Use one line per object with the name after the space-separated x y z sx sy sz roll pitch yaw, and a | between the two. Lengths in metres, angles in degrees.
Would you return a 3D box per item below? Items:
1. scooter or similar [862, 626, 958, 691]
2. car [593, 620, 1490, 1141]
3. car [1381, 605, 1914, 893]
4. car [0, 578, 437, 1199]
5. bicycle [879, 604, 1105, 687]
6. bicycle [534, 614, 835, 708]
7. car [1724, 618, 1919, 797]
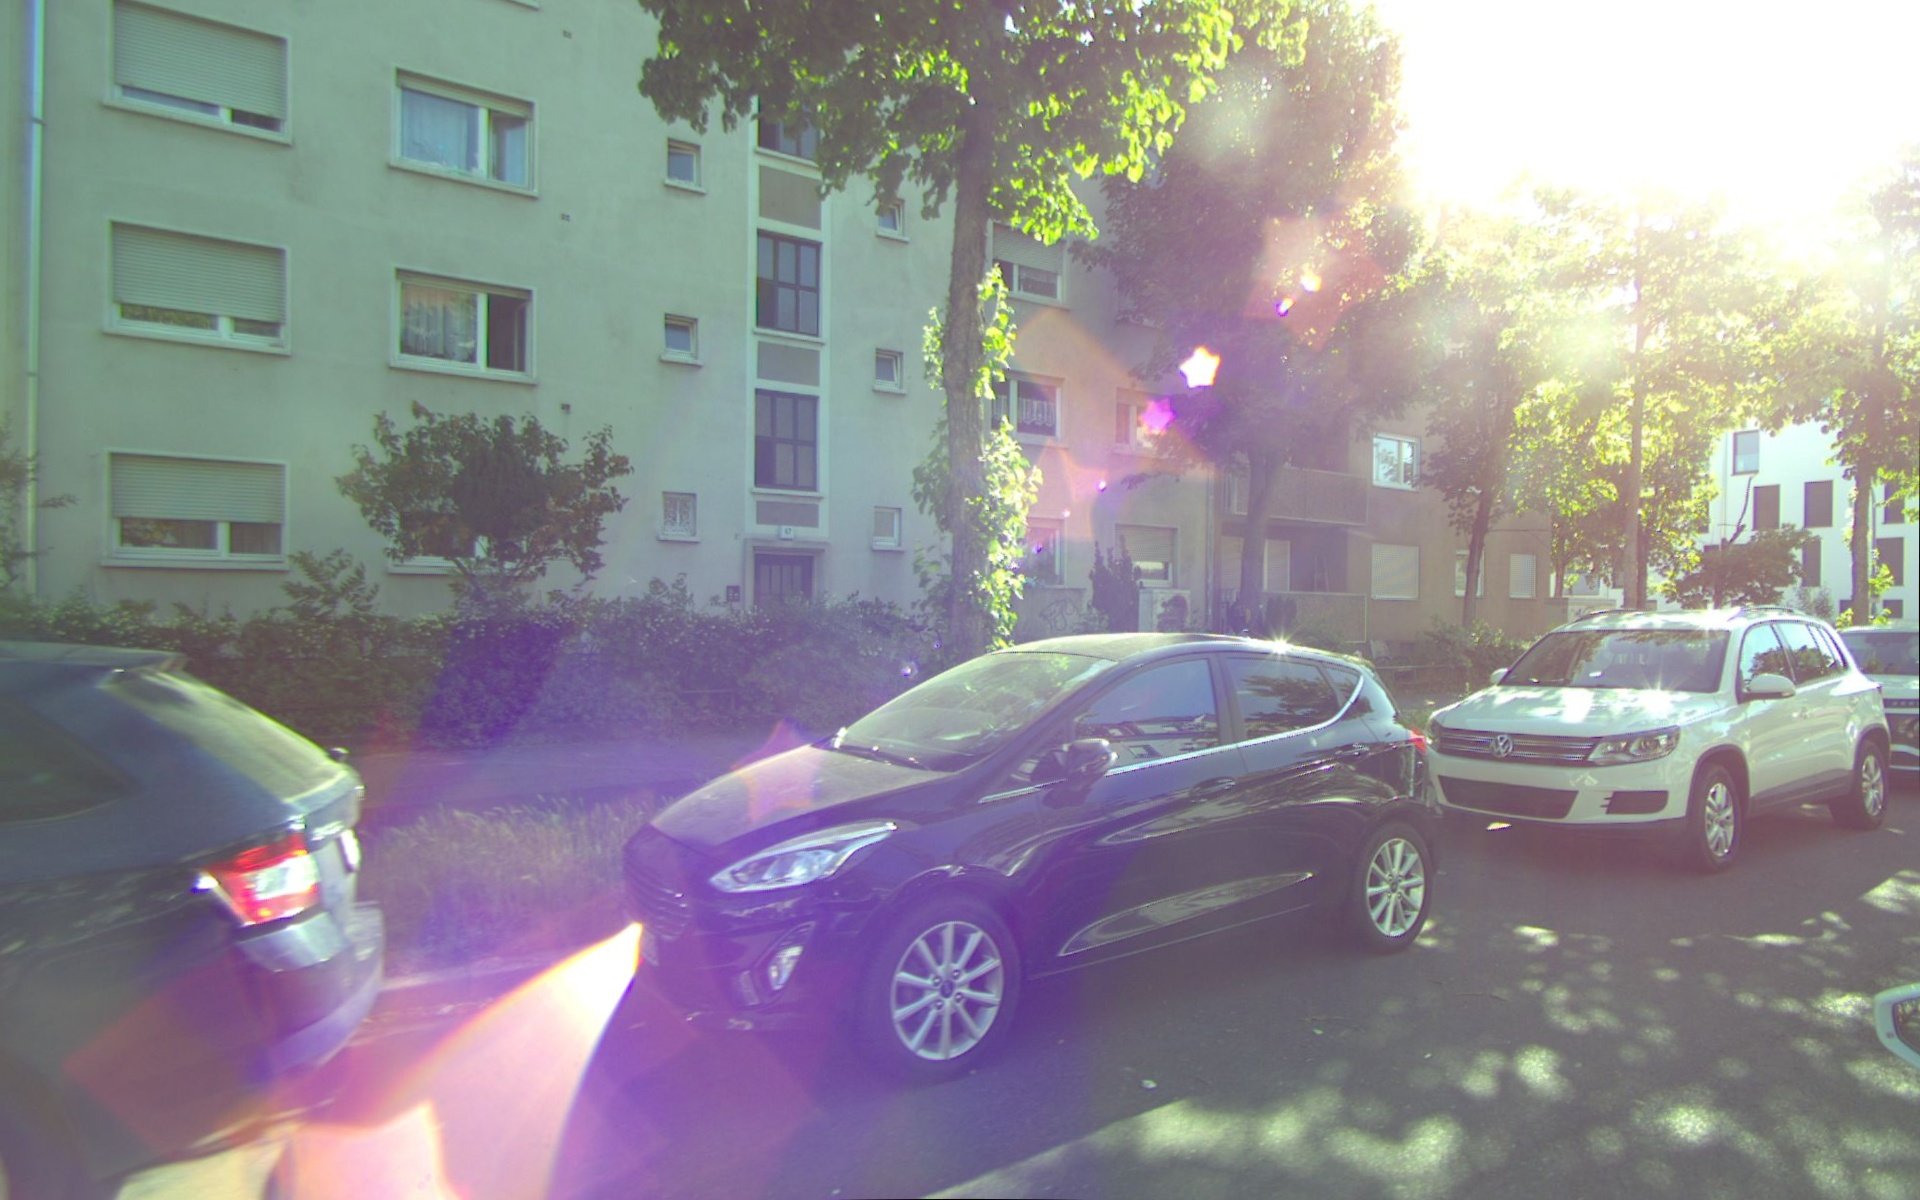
-0.826 0.945 16.595 1.395 1.003 0.779 1 0 -33 | scooter or similar
0.499 0.853 4.636 3.866 1.462 1.752 1 -3 -33 | car
5.254 0.885 7.545 4.186 1.617 1.801 1 -2 -32 | car
-3.504 0.701 2.192 4.076 1.472 1.820 1 -2 -32 | car
0.462 0.640 14.512 3.172 1.151 0.916 0 -1 3 | bicycle
-3.740 0.781 14.052 3.964 1.151 1.095 1 -1 -38 | bicycle
9.737 0.995 10.300 3.885 1.565 1.702 1 -3 -31 | car
